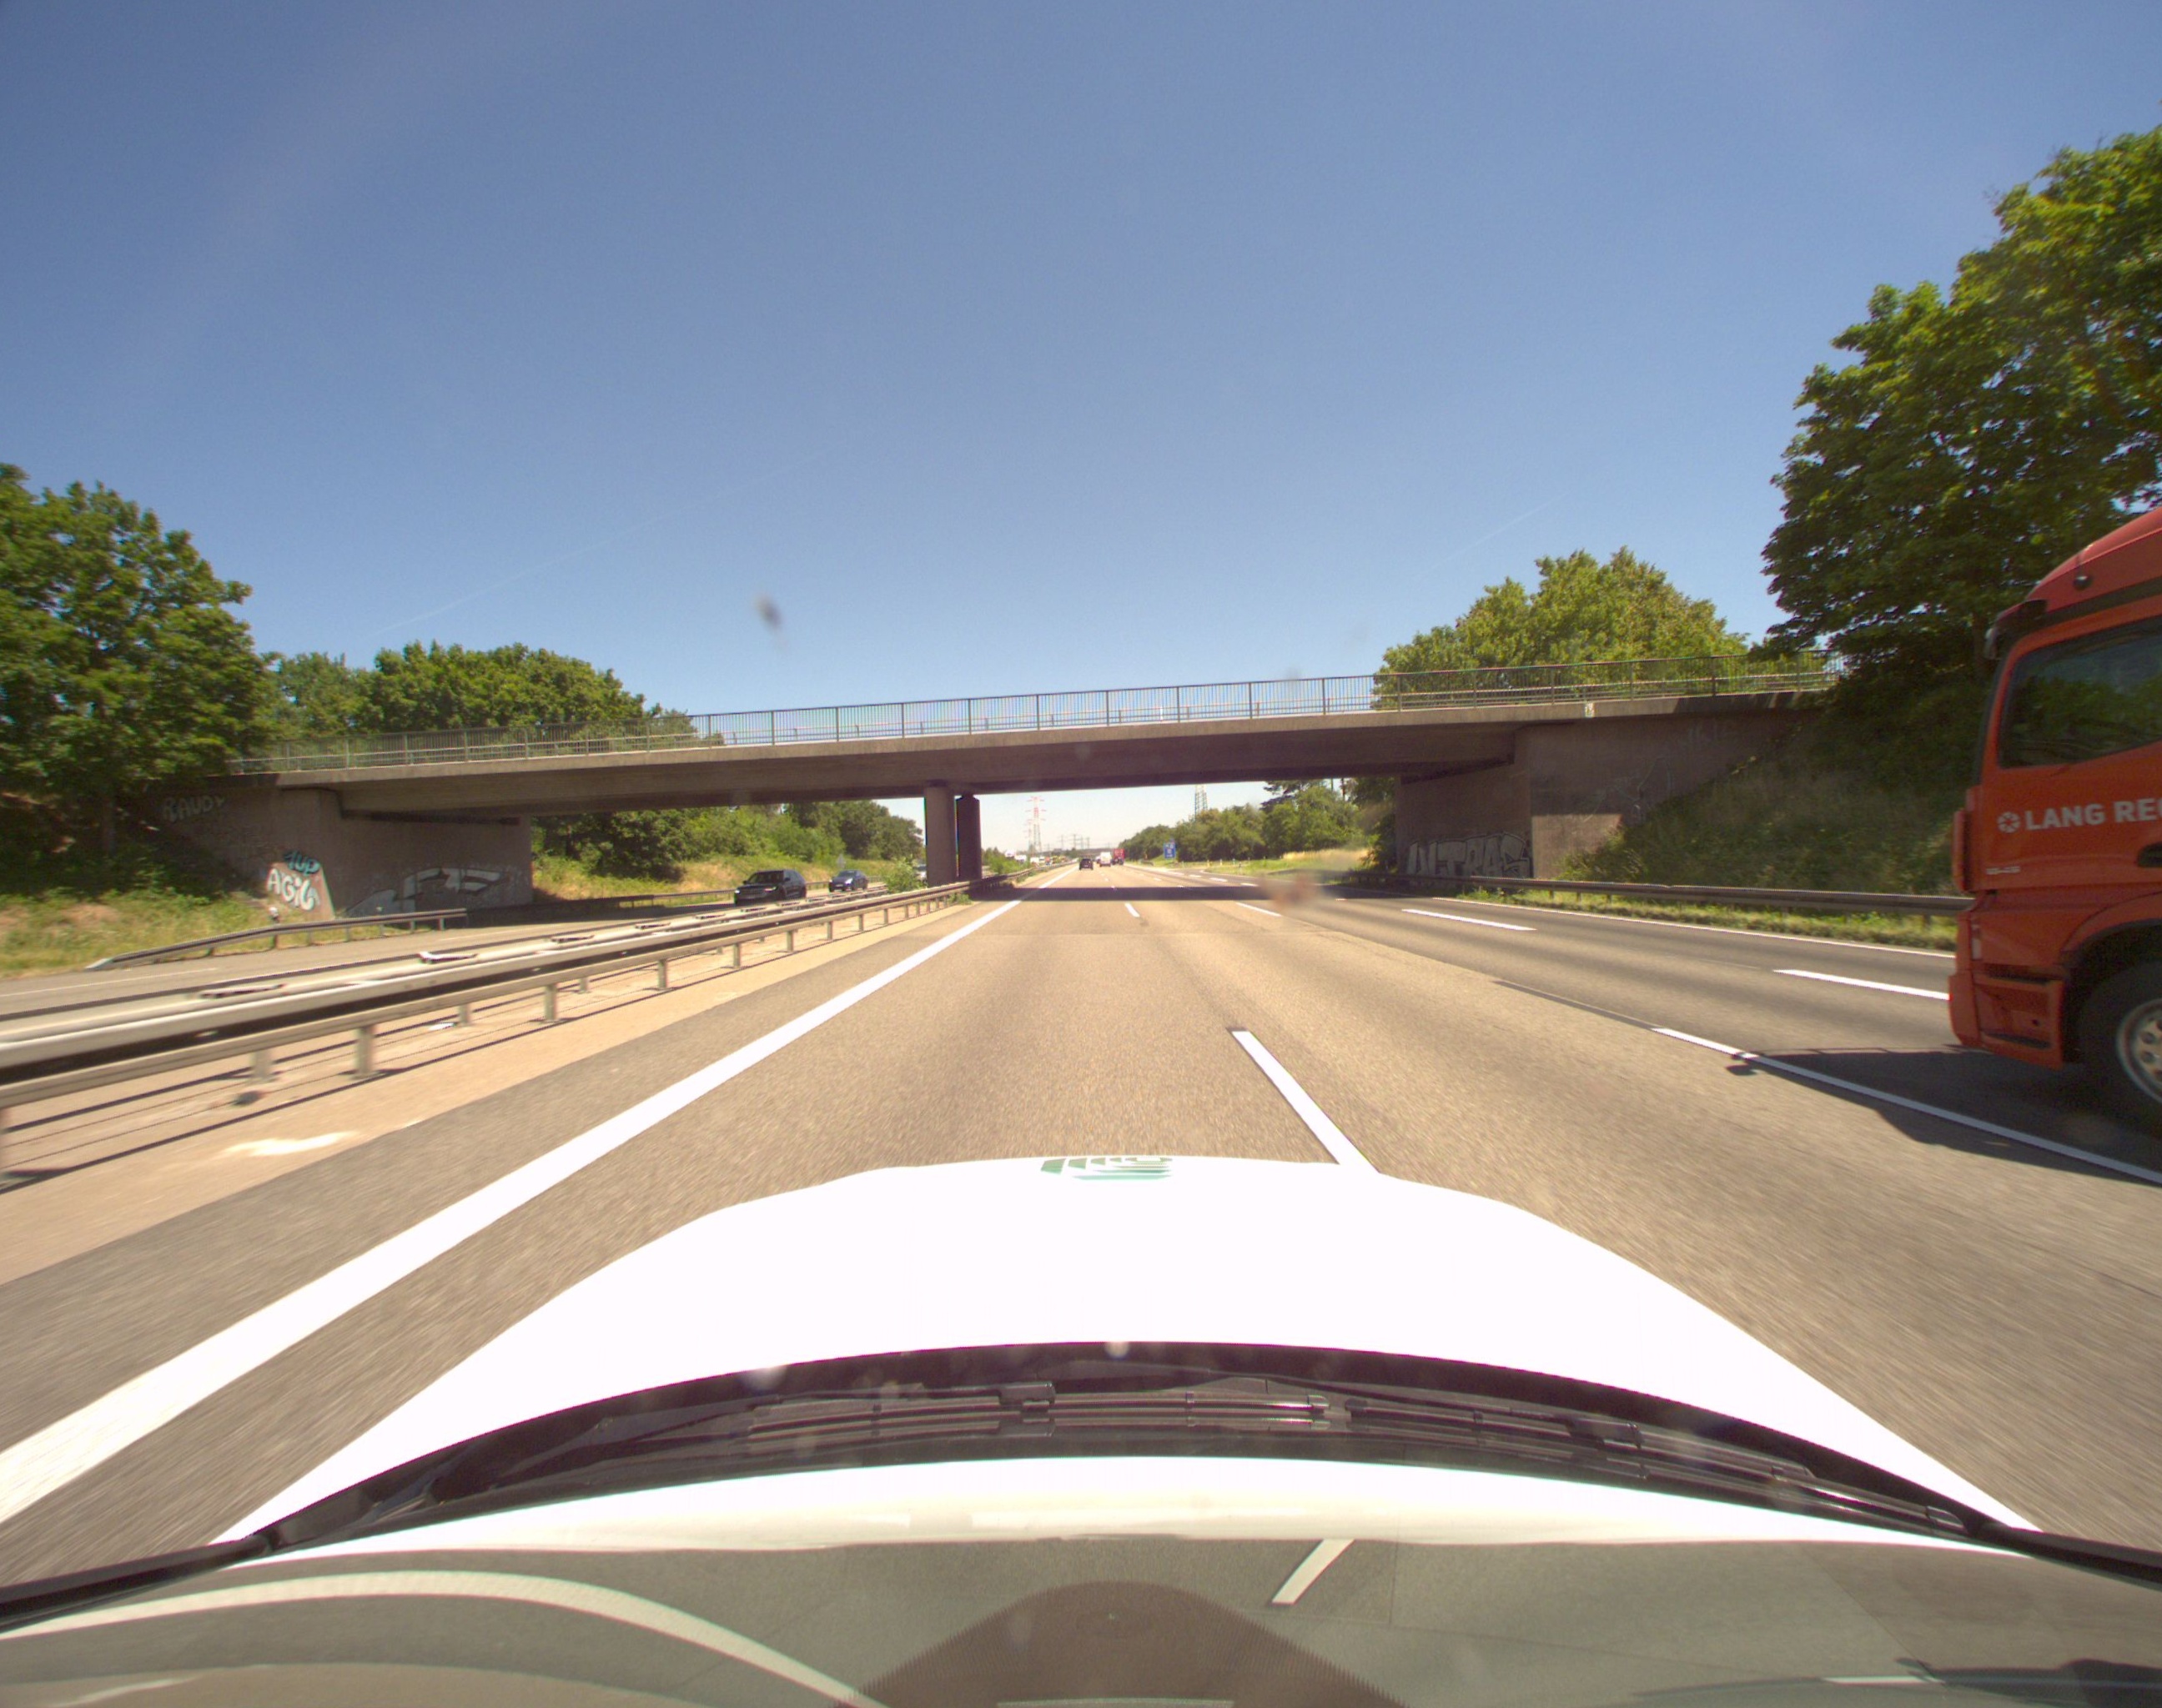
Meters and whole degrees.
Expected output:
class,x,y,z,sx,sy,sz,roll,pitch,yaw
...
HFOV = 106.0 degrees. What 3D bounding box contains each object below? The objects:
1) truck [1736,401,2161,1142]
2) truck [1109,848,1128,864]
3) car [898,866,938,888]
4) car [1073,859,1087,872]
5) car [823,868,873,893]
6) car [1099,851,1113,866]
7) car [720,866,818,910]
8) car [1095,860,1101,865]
class,x,y,z,sx,sy,sz,roll,pitch,yaw
truck,6.837,-0.454,0.670,2.672,3.798,12.478,0,-1,1
truck,9.329,0.581,205.103,4.316,3.942,16.079,0,0,1
car,-13.450,1.848,67.613,2.220,1.611,5.059,-4,-1,0
car,-0.159,1.624,116.980,1.987,1.750,4.000,0,-1,0
car,-17.406,1.957,61.069,2.220,1.611,5.059,-4,-1,0
car,4.695,0.793,154.573,2.612,2.759,6.096,0,-1,1
car,-13.525,1.426,35.665,2.220,1.611,5.059,-4,-1,0
car,5.019,2.460,239.172,1.741,1.634,4.003,0,-1,1
